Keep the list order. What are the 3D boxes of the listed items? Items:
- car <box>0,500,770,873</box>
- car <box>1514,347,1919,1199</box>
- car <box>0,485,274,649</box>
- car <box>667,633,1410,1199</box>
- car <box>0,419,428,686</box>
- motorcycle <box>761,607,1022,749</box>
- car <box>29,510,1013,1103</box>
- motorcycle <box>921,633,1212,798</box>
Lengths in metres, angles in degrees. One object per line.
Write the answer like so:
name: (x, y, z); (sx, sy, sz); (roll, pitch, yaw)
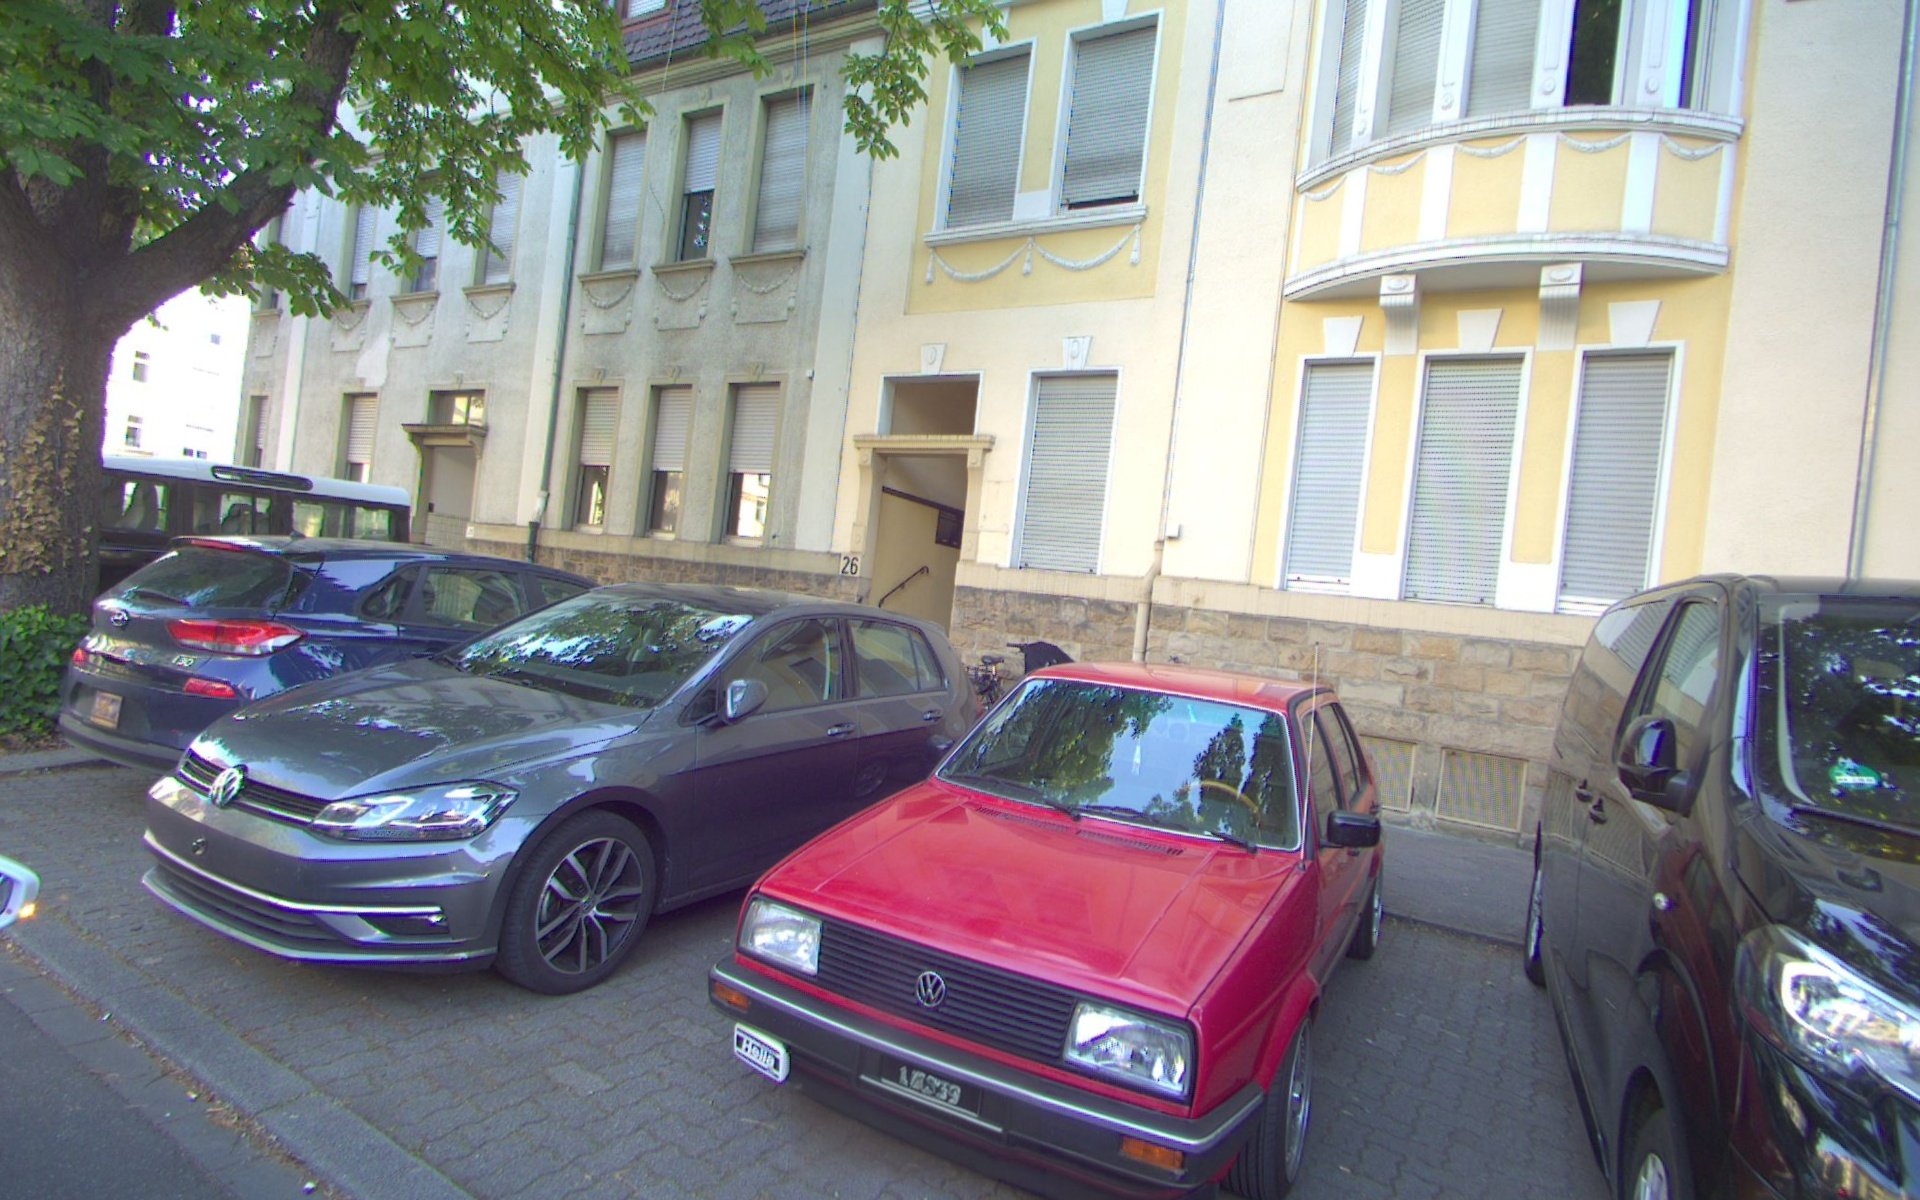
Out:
car: (-3.084, 0.428, 6.202); (1.679, 1.470, 3.730); (6, 0, 28)
car: (2.854, 0.874, 2.881); (1.864, 1.898, 4.759); (6, 0, 27)
car: (-9.986, -0.384, 10.939); (1.679, 1.589, 3.730); (6, 0, 28)
car: (0.877, 0.949, 4.308); (1.601, 1.332, 4.144); (6, 0, 27)
car: (-7.591, -0.366, 9.239); (1.671, 2.061, 4.473); (6, 0, 28)
motorcycle: (-0.789, 0.778, 10.787); (2.822, 1.087, 0.694); (7, 2, 31)
car: (-1.431, 0.625, 4.819); (1.693, 1.470, 4.060); (6, 0, 28)
motorcycle: (0.957, 0.999, 9.398); (2.439, 1.087, 0.959); (7, 2, 32)
